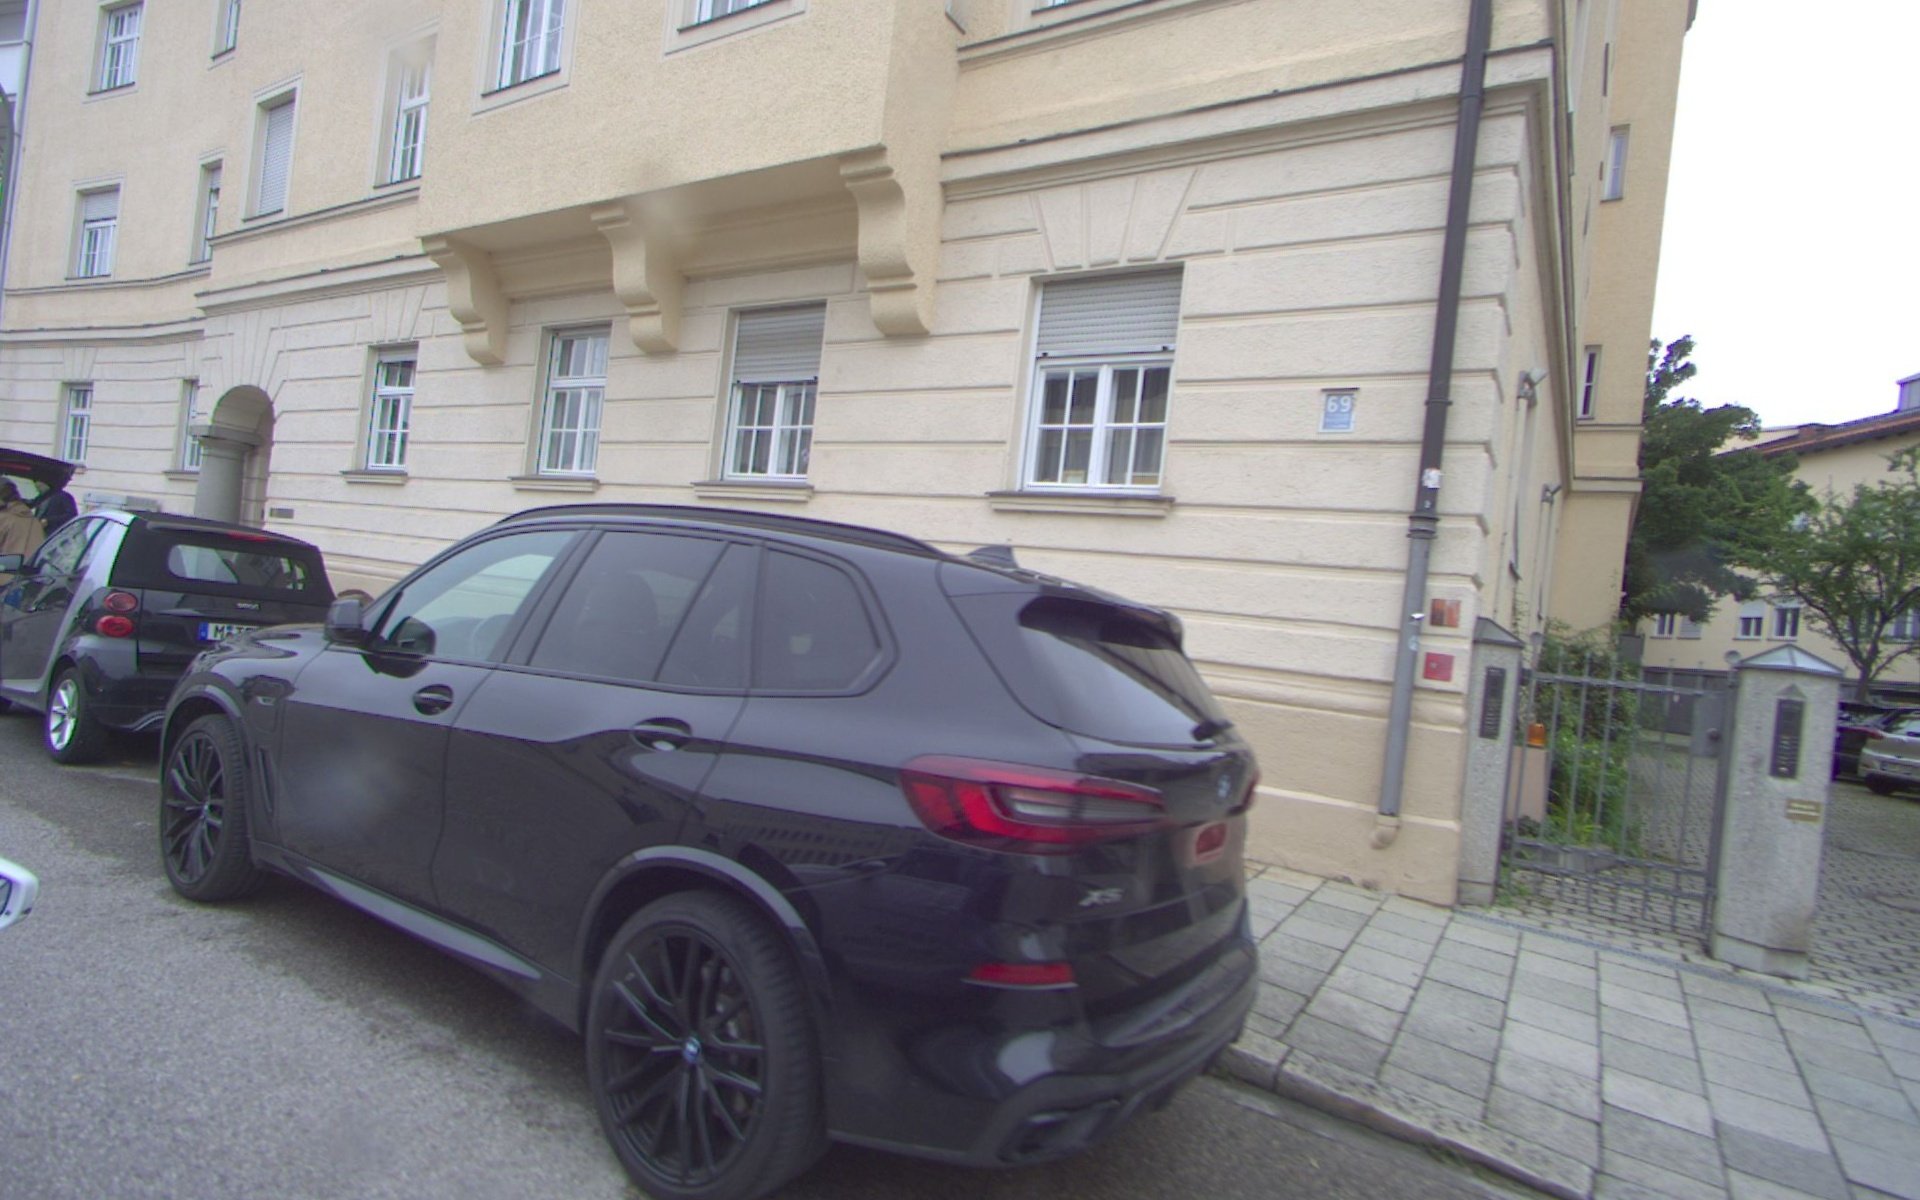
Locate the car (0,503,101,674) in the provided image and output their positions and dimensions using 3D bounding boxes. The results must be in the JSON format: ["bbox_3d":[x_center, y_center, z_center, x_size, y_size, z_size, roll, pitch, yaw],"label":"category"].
[{"bbox_3d":[-9.787,-0.301,9.248,3.617,1.434,1.635,7,-2,30],"label":"car"}]

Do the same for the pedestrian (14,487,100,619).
[{"bbox_3d":[-12.323,-0.634,13.728,0.904,1.713,0.617,6,3,33],"label":"pedestrian"}]

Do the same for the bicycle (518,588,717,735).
[{"bbox_3d":[-3.181,0.521,9.231,2.103,1.063,0.501,6,3,34],"label":"bicycle"}]

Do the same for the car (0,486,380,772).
[{"bbox_3d":[-5.761,0.132,7.176,2.970,1.573,1.516,7,-1,34],"label":"car"}]

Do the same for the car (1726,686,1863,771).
[{"bbox_3d":[21.580,3.292,26.200,1.967,1.747,4.355,7,-2,32],"label":"car"}]

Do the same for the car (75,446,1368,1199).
[{"bbox_3d":[-1.244,0.523,4.109,4.942,1.759,2.173,7,-2,33],"label":"car"}]

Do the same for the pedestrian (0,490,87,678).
[{"bbox_3d":[-8.127,-0.142,8.674,0.568,1.546,0.629,7,-1,31],"label":"pedestrian"}]

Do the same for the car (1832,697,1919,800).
[{"bbox_3d":[17.360,2.695,16.806,3.930,1.537,1.999,7,-1,-6],"label":"car"}]

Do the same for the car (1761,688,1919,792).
[{"bbox_3d":[18.202,2.811,19.404,3.930,1.603,1.999,8,-1,-6],"label":"car"}]
